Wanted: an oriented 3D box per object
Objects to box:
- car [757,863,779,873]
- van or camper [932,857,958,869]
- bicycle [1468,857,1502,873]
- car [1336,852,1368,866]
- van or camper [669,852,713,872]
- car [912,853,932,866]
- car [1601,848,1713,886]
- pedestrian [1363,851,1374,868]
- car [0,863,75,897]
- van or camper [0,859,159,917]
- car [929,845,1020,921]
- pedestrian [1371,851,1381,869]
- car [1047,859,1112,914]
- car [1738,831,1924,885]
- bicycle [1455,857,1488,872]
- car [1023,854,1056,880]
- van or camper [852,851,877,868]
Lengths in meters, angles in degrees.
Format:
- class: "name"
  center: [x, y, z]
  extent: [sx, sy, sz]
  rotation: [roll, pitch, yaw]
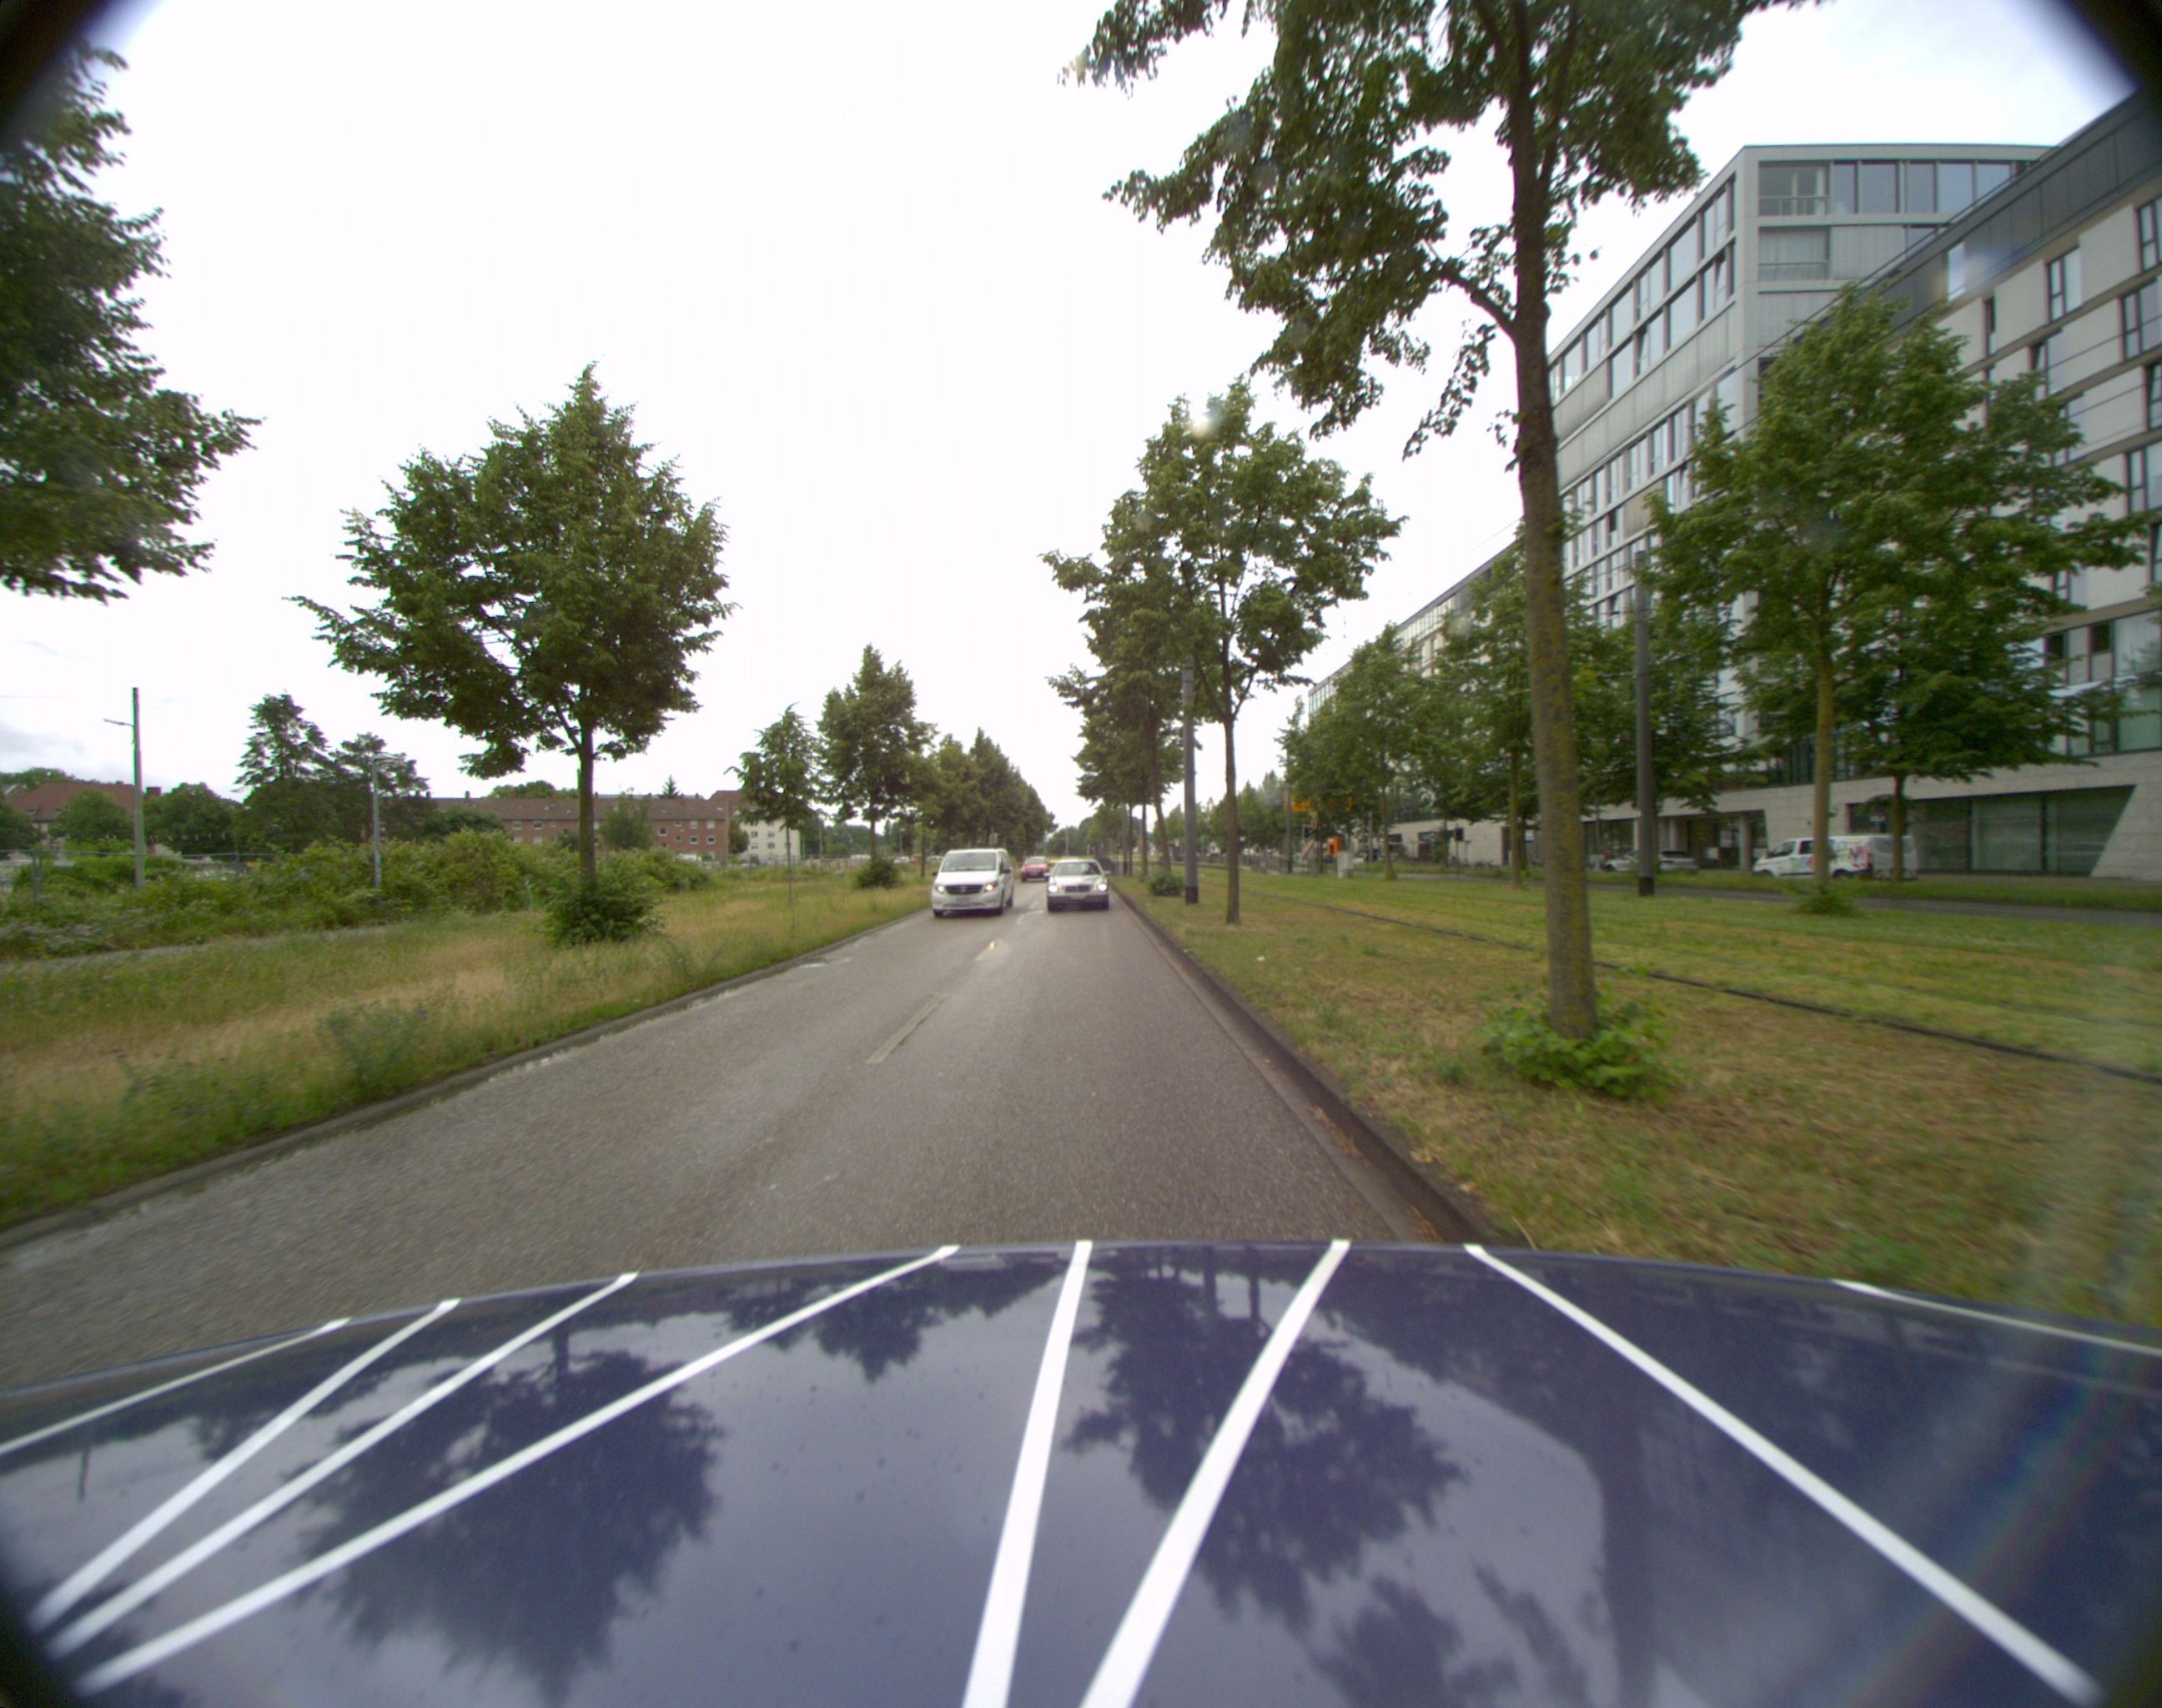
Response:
- class: "car"
  center: [-48.629, 2.177, 118.270]
  extent: [2.000, 1.379, 4.565]
  rotation: [-3, 0, -8]
- class: "van or camper"
  center: [-24.424, 1.647, 136.465]
  extent: [4.334, 2.002, 1.860]
  rotation: [-2, 0, -6]
- class: "bicycle"
  center: [28.270, 0.775, 53.123]
  extent: [1.983, 1.028, 0.696]
  rotation: [-1, 0, 2]
- class: "car"
  center: [27.899, 0.497, 78.402]
  extent: [1.998, 1.281, 4.070]
  rotation: [-1, 1, 2]
- class: "van or camper"
  center: [-47.286, 0.909, 92.305]
  extent: [2.208, 2.294, 6.147]
  rotation: [-3, 0, -2]
- class: "car"
  center: [-29.951, 0.997, 143.259]
  extent: [1.996, 2.297, 4.004]
  rotation: [-2, 0, 13]
- class: "car"
  center: [28.409, 0.602, 37.671]
  extent: [2.150, 1.702, 4.463]
  rotation: [-1, 0, 0]
- class: "pedestrian"
  center: [28.524, 0.577, 75.387]
  extent: [0.712, 1.681, 0.793]
  rotation: [-2, 0, 3]
- class: "car"
  center: [-62.787, 1.531, 44.039]
  extent: [2.168, 1.883, 5.204]
  rotation: [-1, 0, -3]
- class: "van or camper"
  center: [-51.391, 1.608, 38.210]
  extent: [2.314, 2.673, 6.395]
  rotation: [-1, 0, -2]
- class: "car"
  center: [-3.023, 0.742, 22.597]
  extent: [1.972, 1.968, 5.090]
  rotation: [-1, 1, 0]
- class: "pedestrian"
  center: [29.308, 0.595, 75.549]
  extent: [0.712, 1.681, 0.793]
  rotation: [-2, 0, 3]
- class: "car"
  center: [-0.054, 0.919, 23.281]
  extent: [1.739, 1.451, 4.607]
  rotation: [-2, 0, -1]
- class: "car"
  center: [28.498, 0.138, 29.174]
  extent: [1.999, 1.841, 5.164]
  rotation: [-1, 0, -1]
- class: "bicycle"
  center: [28.276, 0.781, 55.045]
  extent: [1.983, 1.028, 0.696]
  rotation: [-1, 0, 2]
- class: "car"
  center: [-2.688, 0.805, 50.165]
  extent: [1.799, 1.603, 4.245]
  rotation: [-2, 0, 1]
- class: "van or camper"
  center: [-42.577, 1.018, 149.484]
  extent: [2.343, 3.017, 5.514]
  rotation: [-3, 0, 11]
